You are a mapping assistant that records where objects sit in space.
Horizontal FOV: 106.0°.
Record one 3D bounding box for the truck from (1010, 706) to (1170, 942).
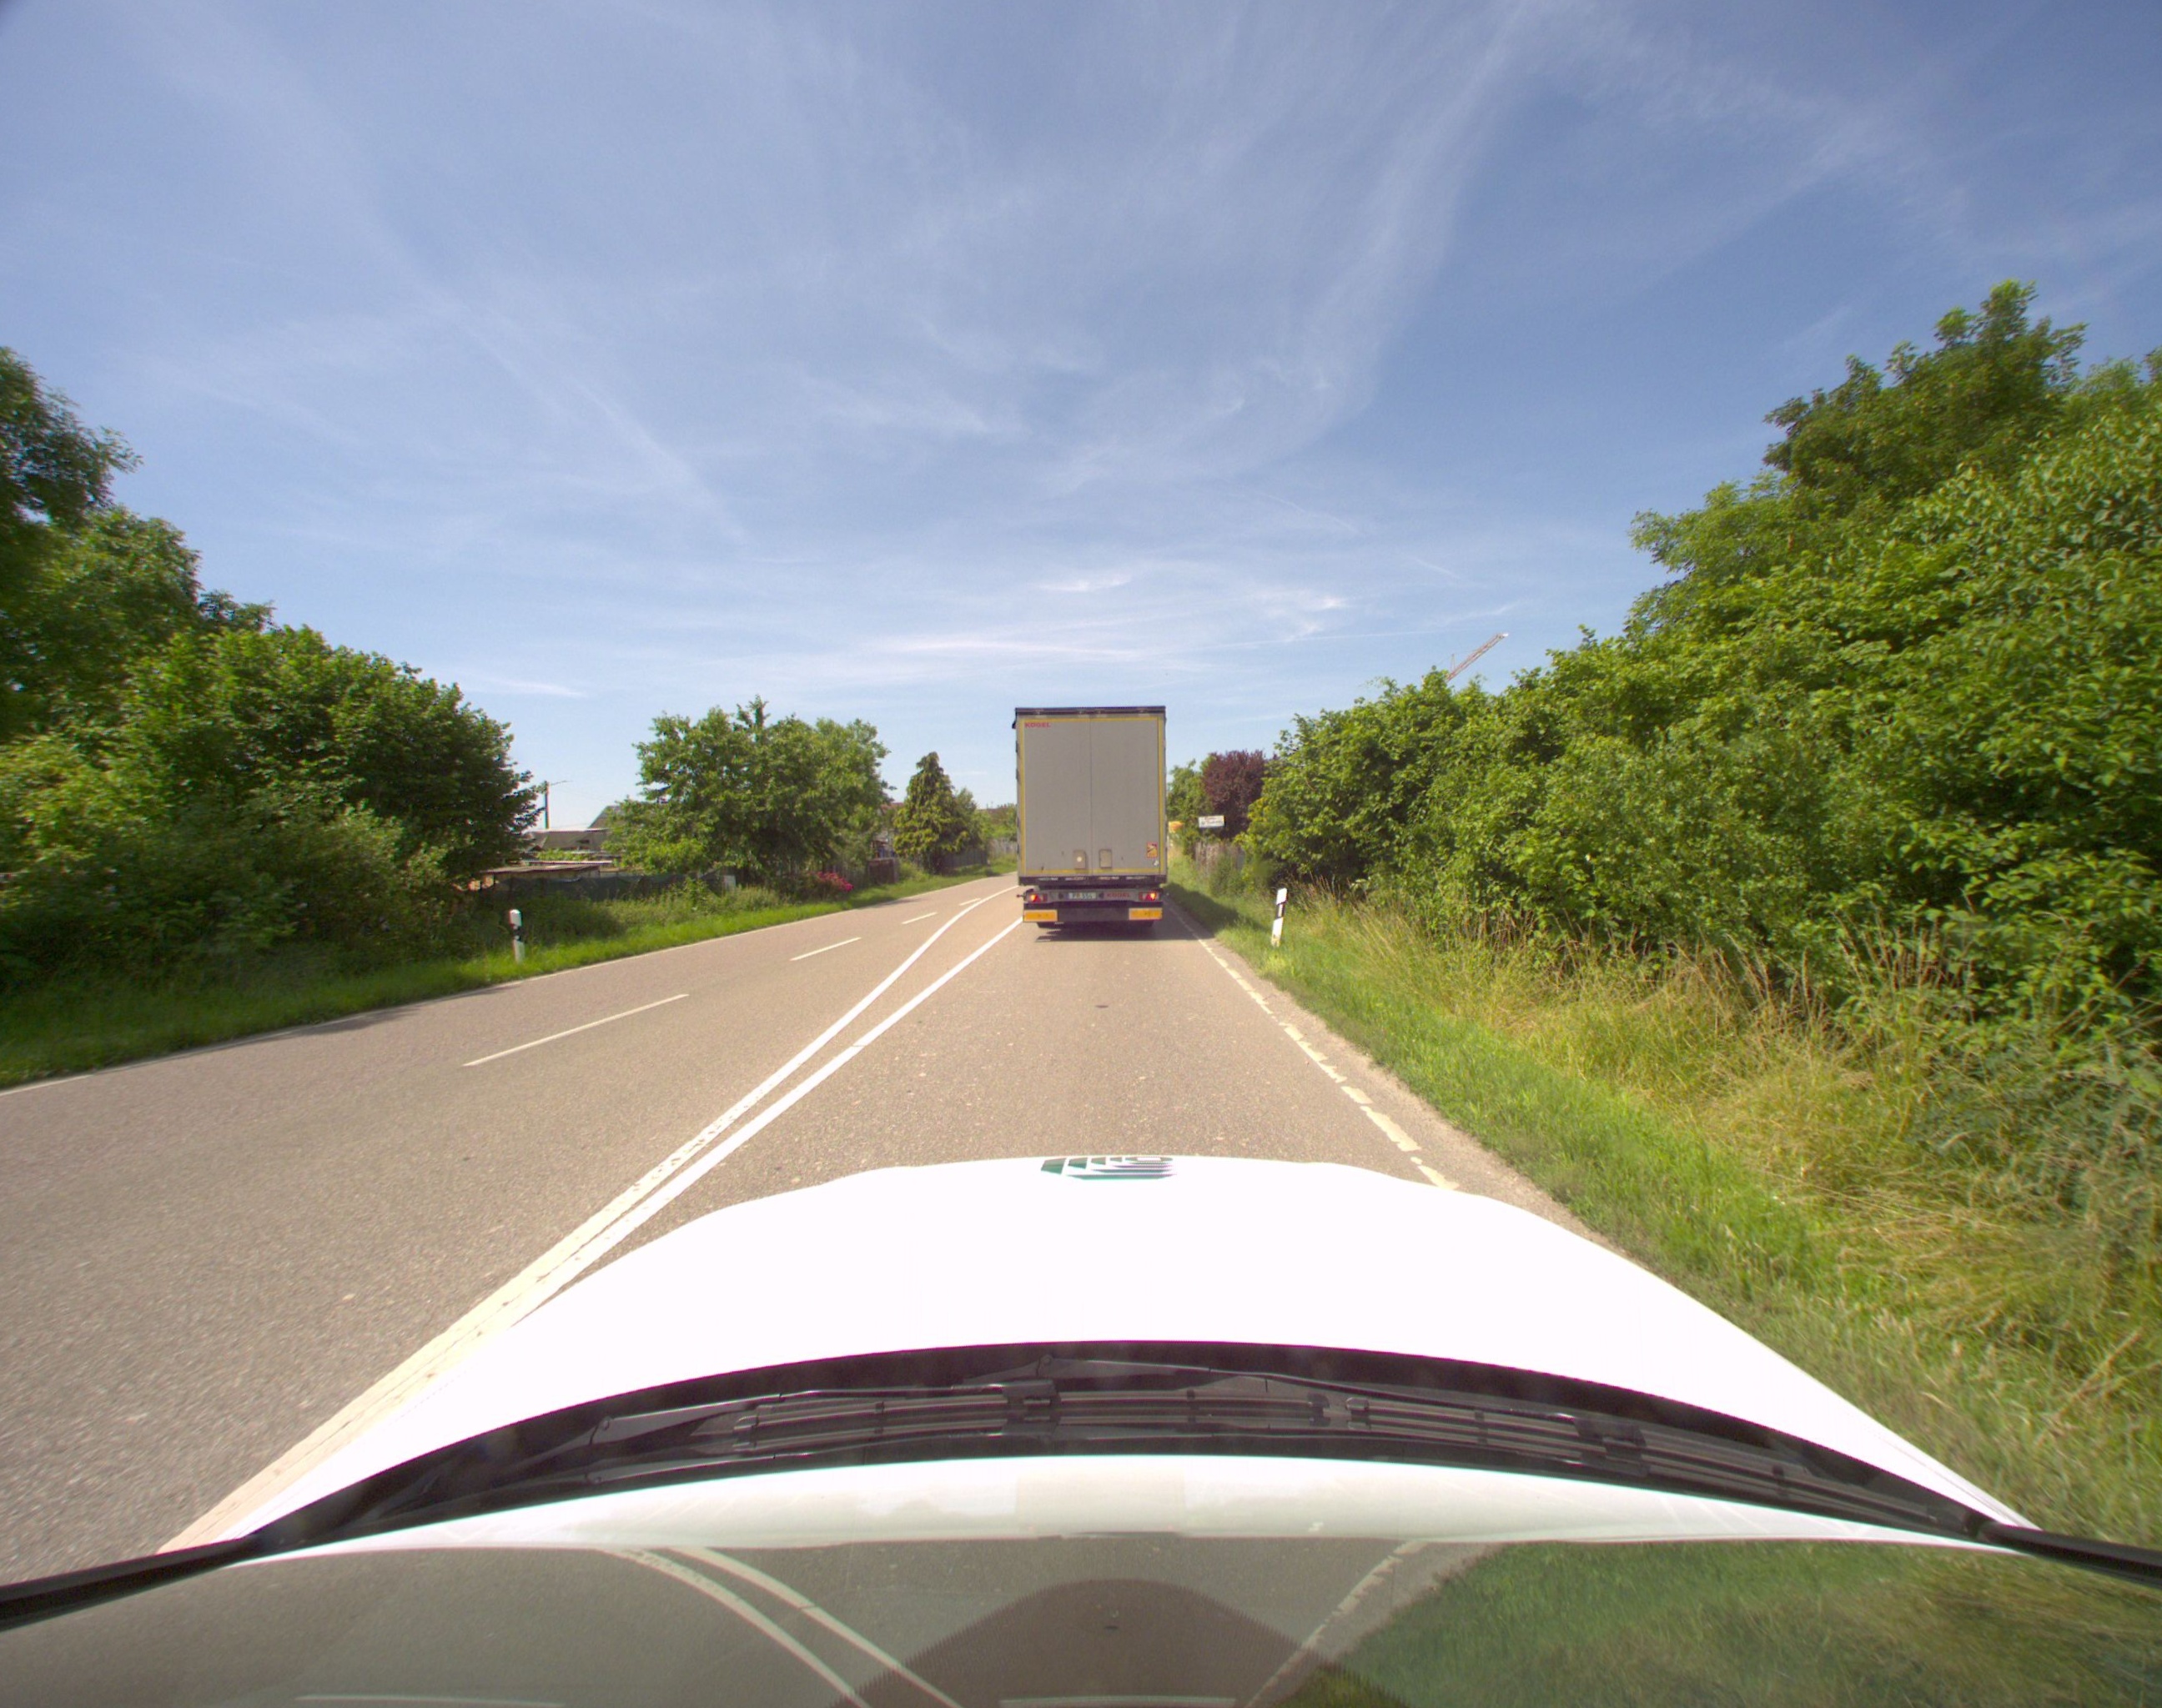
[{"bbox_3d":[0.214,-0.533,18.079,2.638,3.917,8.826,-1,0,1],"label":"truck"}]
